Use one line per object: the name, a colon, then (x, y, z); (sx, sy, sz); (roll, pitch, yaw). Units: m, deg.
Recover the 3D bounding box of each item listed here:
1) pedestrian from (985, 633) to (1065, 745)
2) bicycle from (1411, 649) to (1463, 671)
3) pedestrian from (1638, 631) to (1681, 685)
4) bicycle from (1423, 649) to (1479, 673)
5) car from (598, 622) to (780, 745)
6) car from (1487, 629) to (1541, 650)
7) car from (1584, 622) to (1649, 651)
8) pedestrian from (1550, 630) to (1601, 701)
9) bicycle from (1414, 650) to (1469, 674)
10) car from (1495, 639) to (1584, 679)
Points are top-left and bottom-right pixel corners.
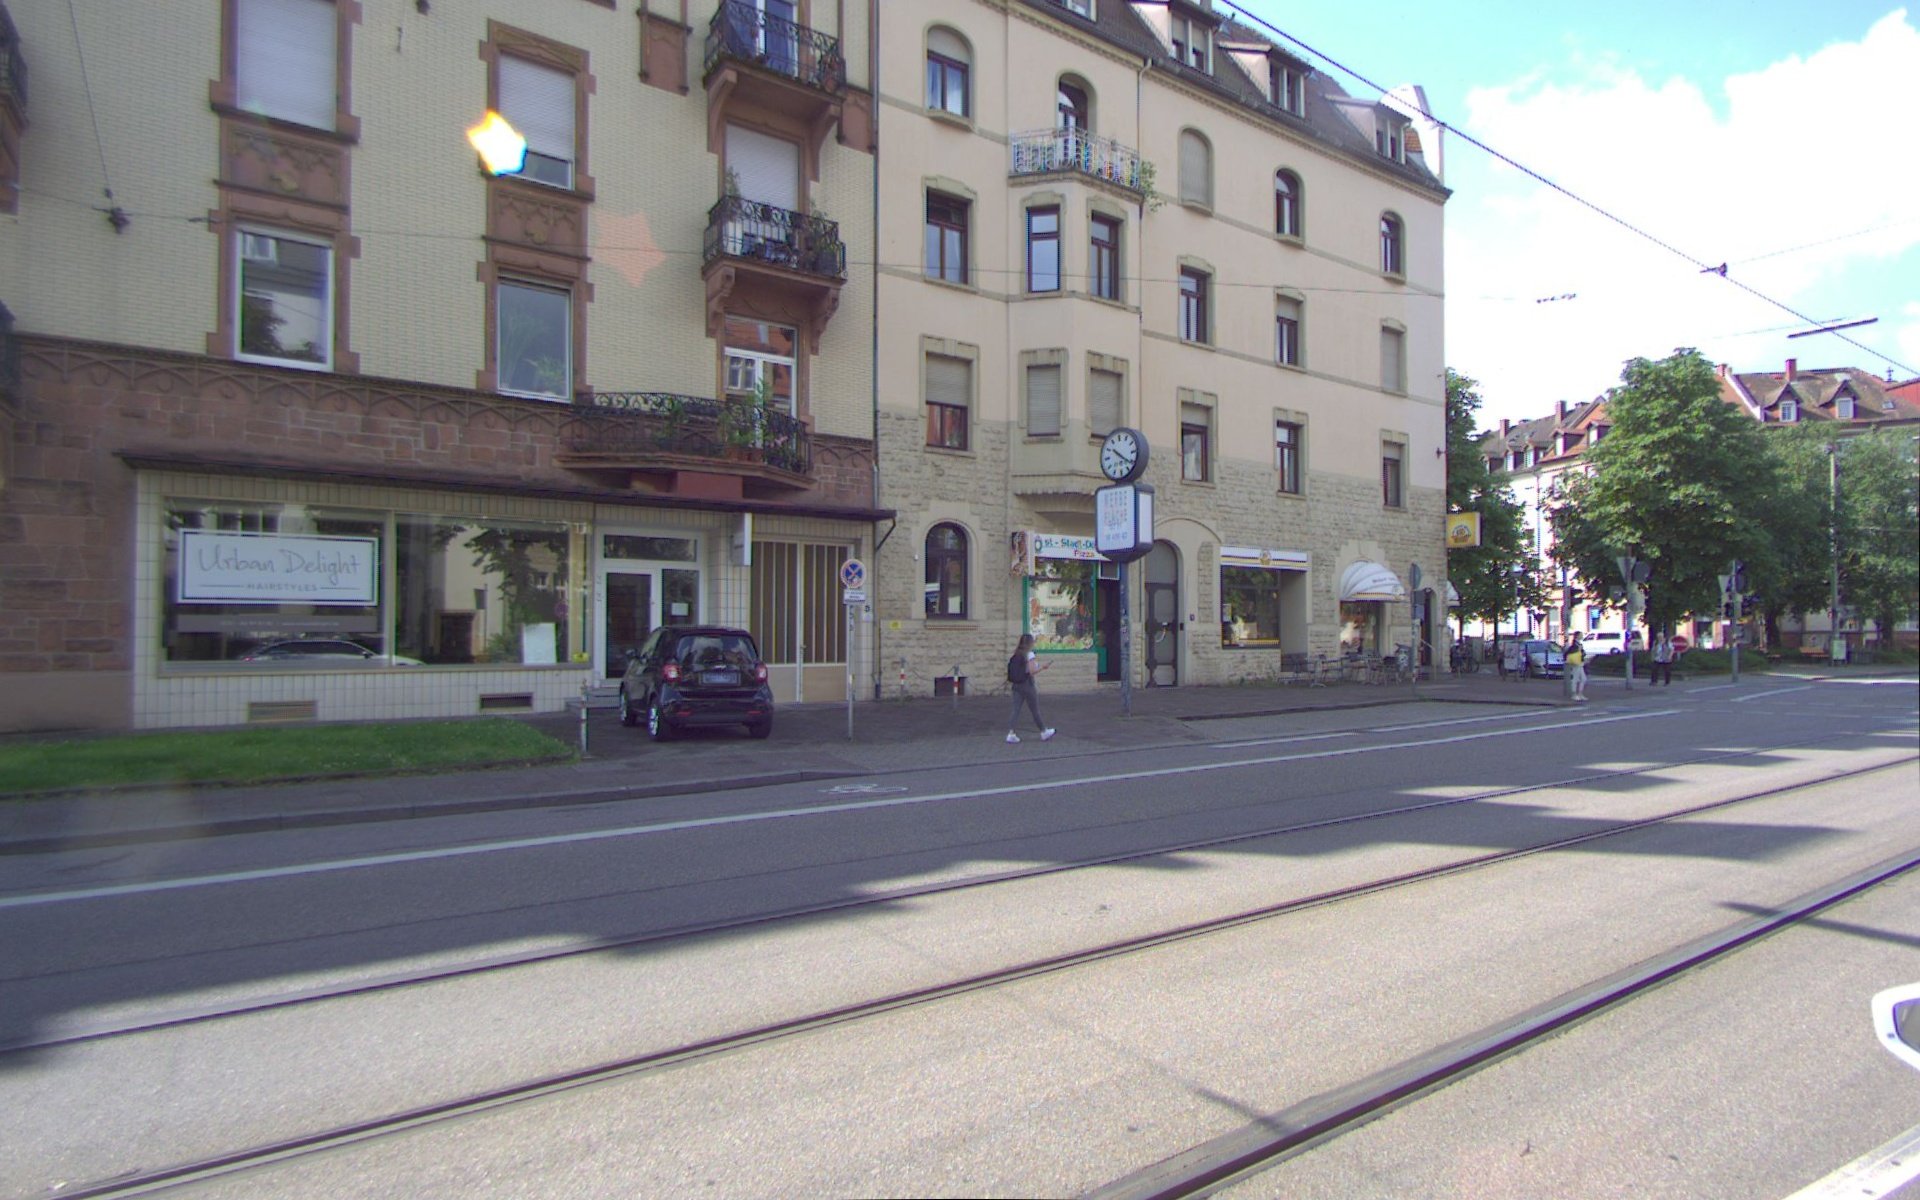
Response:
pedestrian: (0.984, 1.310, 15.088); (0.686, 1.562, 0.958); (4, 2, 44)
bicycle: (20.582, 2.580, 43.364); (1.990, 0.894, 0.512); (1, -2, 13)
pedestrian: (22.377, 1.856, 32.131); (0.813, 1.694, 0.850); (1, -2, -32)
bicycle: (19.964, 2.484, 40.852); (1.990, 0.894, 0.523); (1, -2, 13)
car: (-4.108, 1.127, 14.890); (1.687, 1.506, 3.425); (1, 0, -32)
car: (46.107, 3.256, 83.651); (1.882, 1.685, 3.934); (0, -2, -11)
car: (48.244, 2.675, 73.930); (1.823, 2.015, 3.942); (0, -2, -10)
pedestrian: (15.735, 1.660, 25.672); (0.865, 1.727, 0.751); (1, 2, -34)
bicycle: (20.210, 2.597, 42.179); (1.990, 0.894, 0.512); (1, -2, 13)
car: (22.136, 2.227, 38.538); (1.686, 1.439, 3.876); (0, -2, 10)
